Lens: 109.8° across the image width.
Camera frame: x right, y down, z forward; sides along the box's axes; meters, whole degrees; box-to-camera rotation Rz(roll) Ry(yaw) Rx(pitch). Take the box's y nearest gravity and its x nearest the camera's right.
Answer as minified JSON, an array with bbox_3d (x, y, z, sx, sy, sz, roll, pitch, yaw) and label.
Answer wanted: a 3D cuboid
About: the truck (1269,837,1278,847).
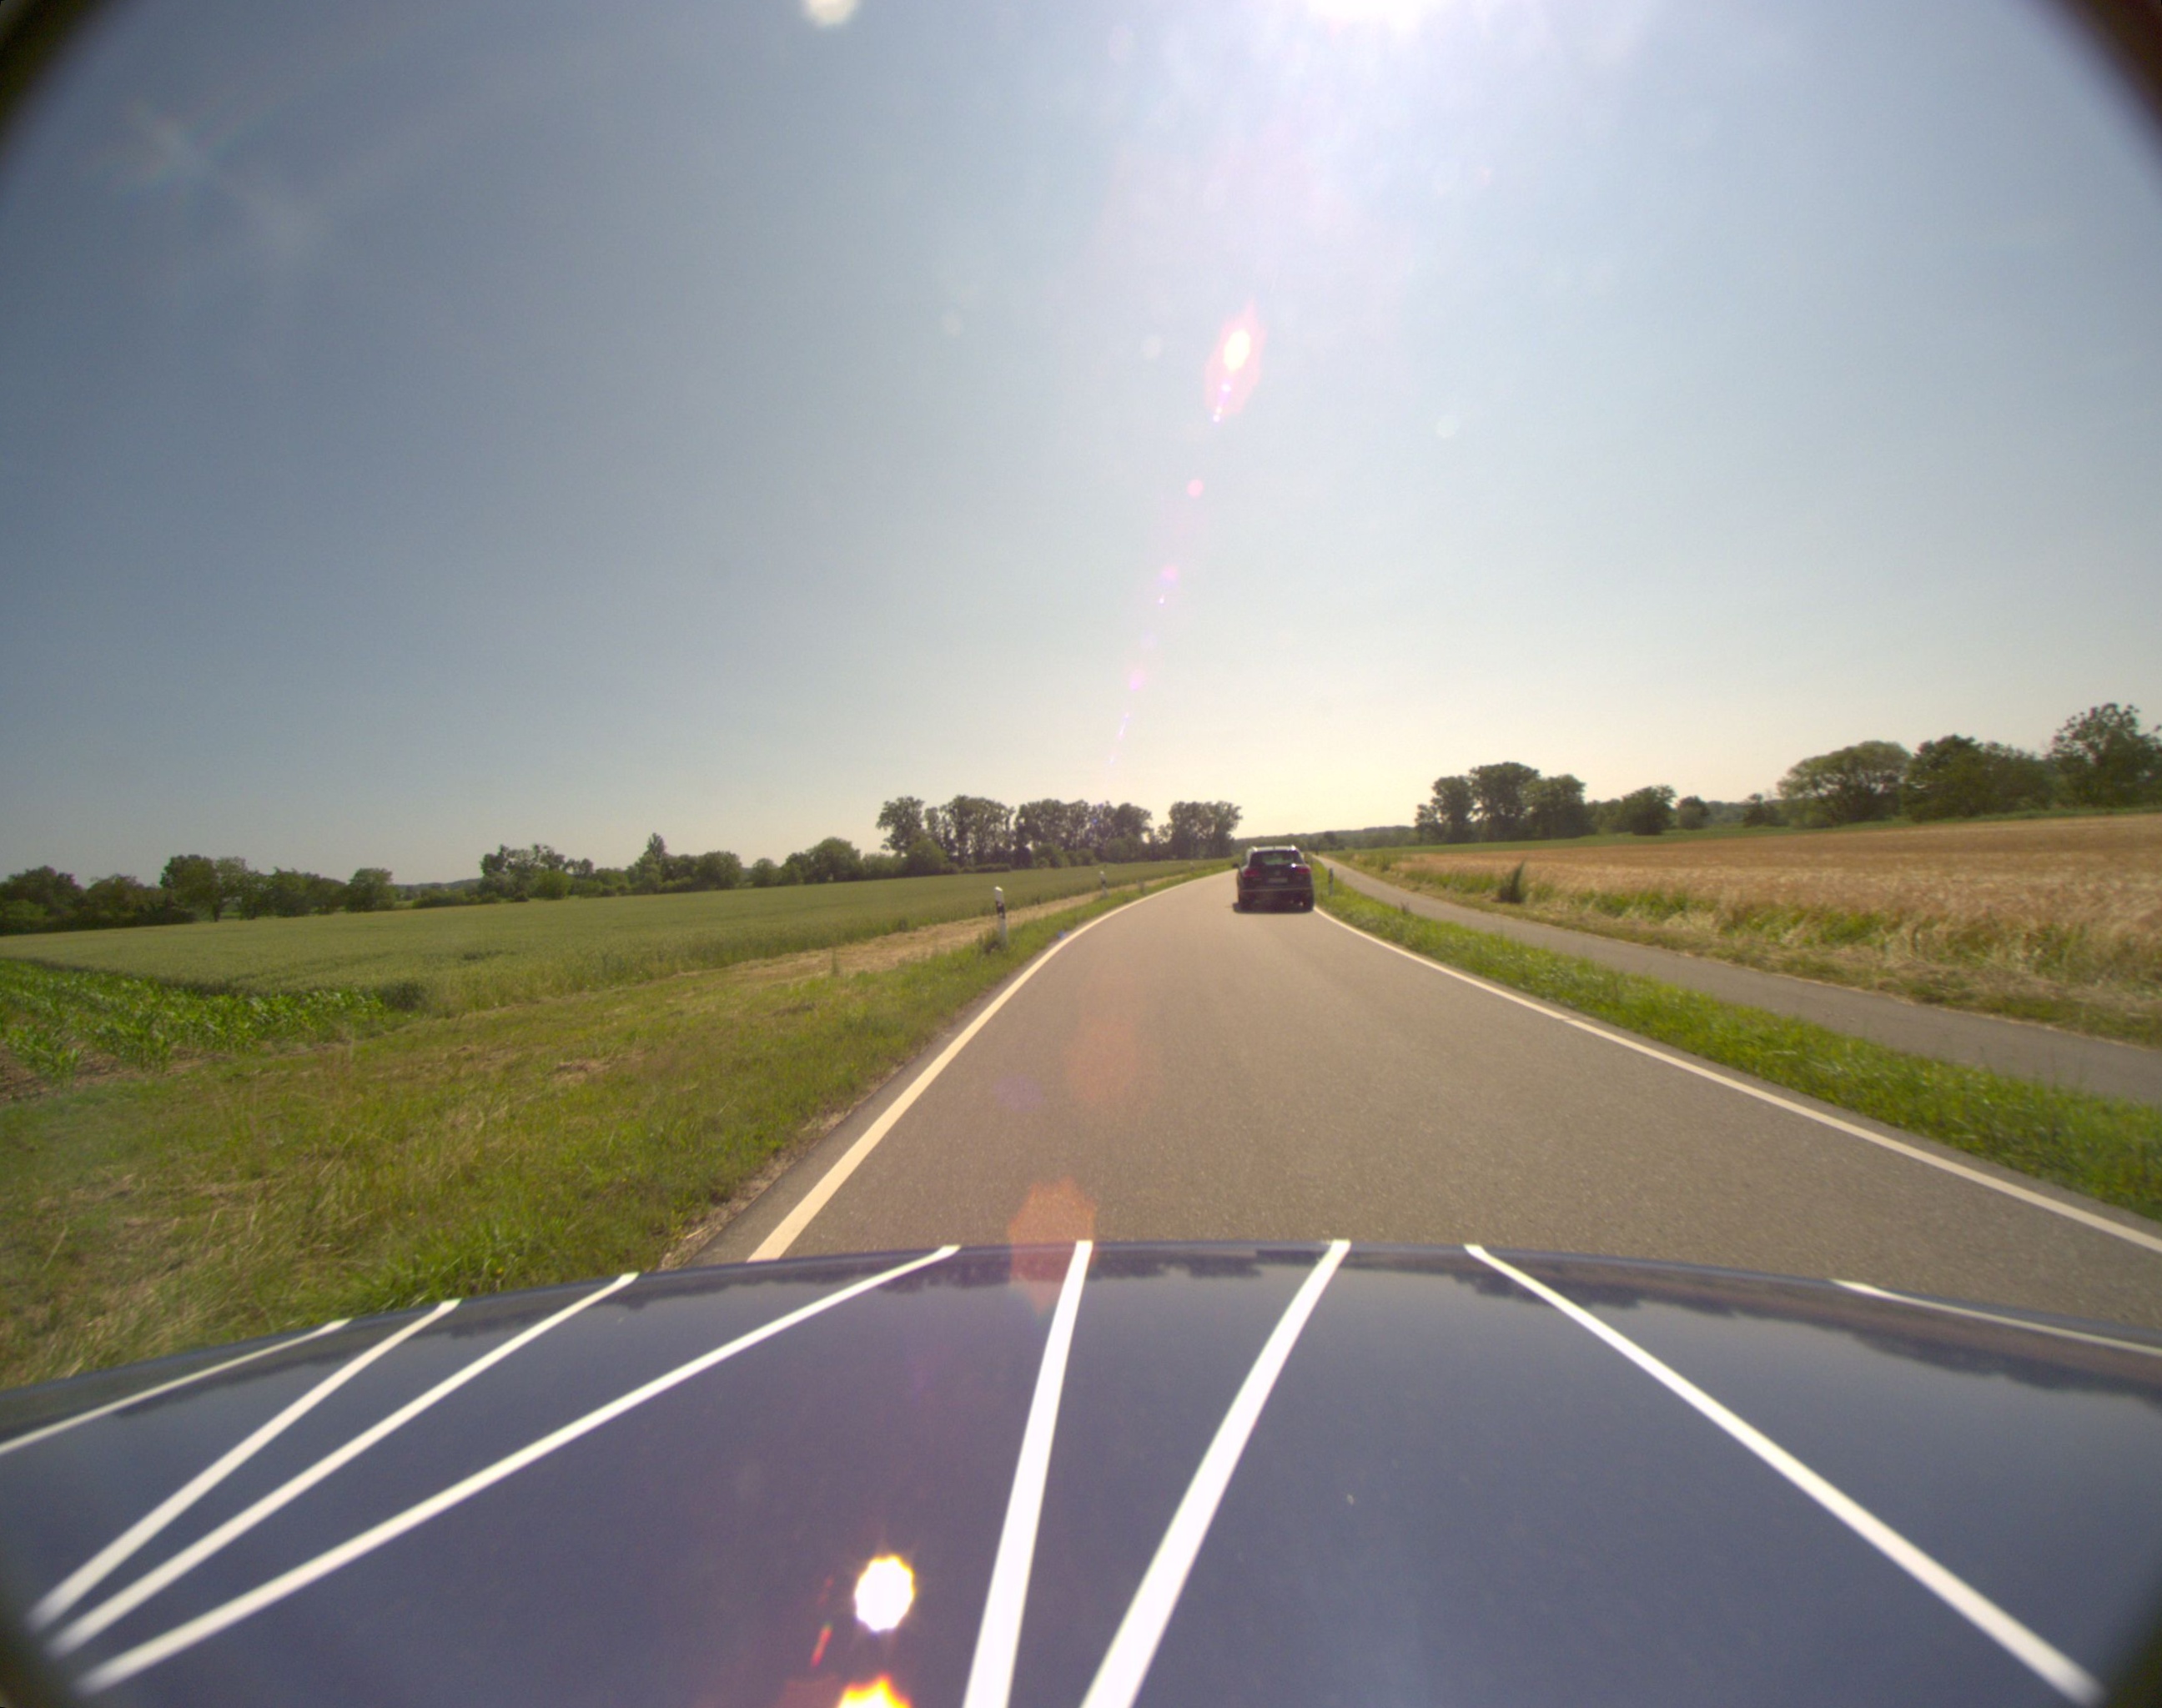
[{"bbox_3d":[56.421,-3.596,222.593,1.996,2.821,5.224,-3,0,17],"label":"truck"}]

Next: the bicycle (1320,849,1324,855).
[{"bbox_3d":[54.377,-0.461,171.427,0.742,1.165,2.085,-3,0,17],"label":"bicycle"}]

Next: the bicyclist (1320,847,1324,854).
[{"bbox_3d":[54.352,-0.749,171.432,0.742,1.487,1.004,-3,0,17],"label":"bicyclist"}]

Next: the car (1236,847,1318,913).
[{"bbox_3d":[5.441,0.668,21.532,1.890,1.705,4.017,-1,0,9],"label":"car"}]
